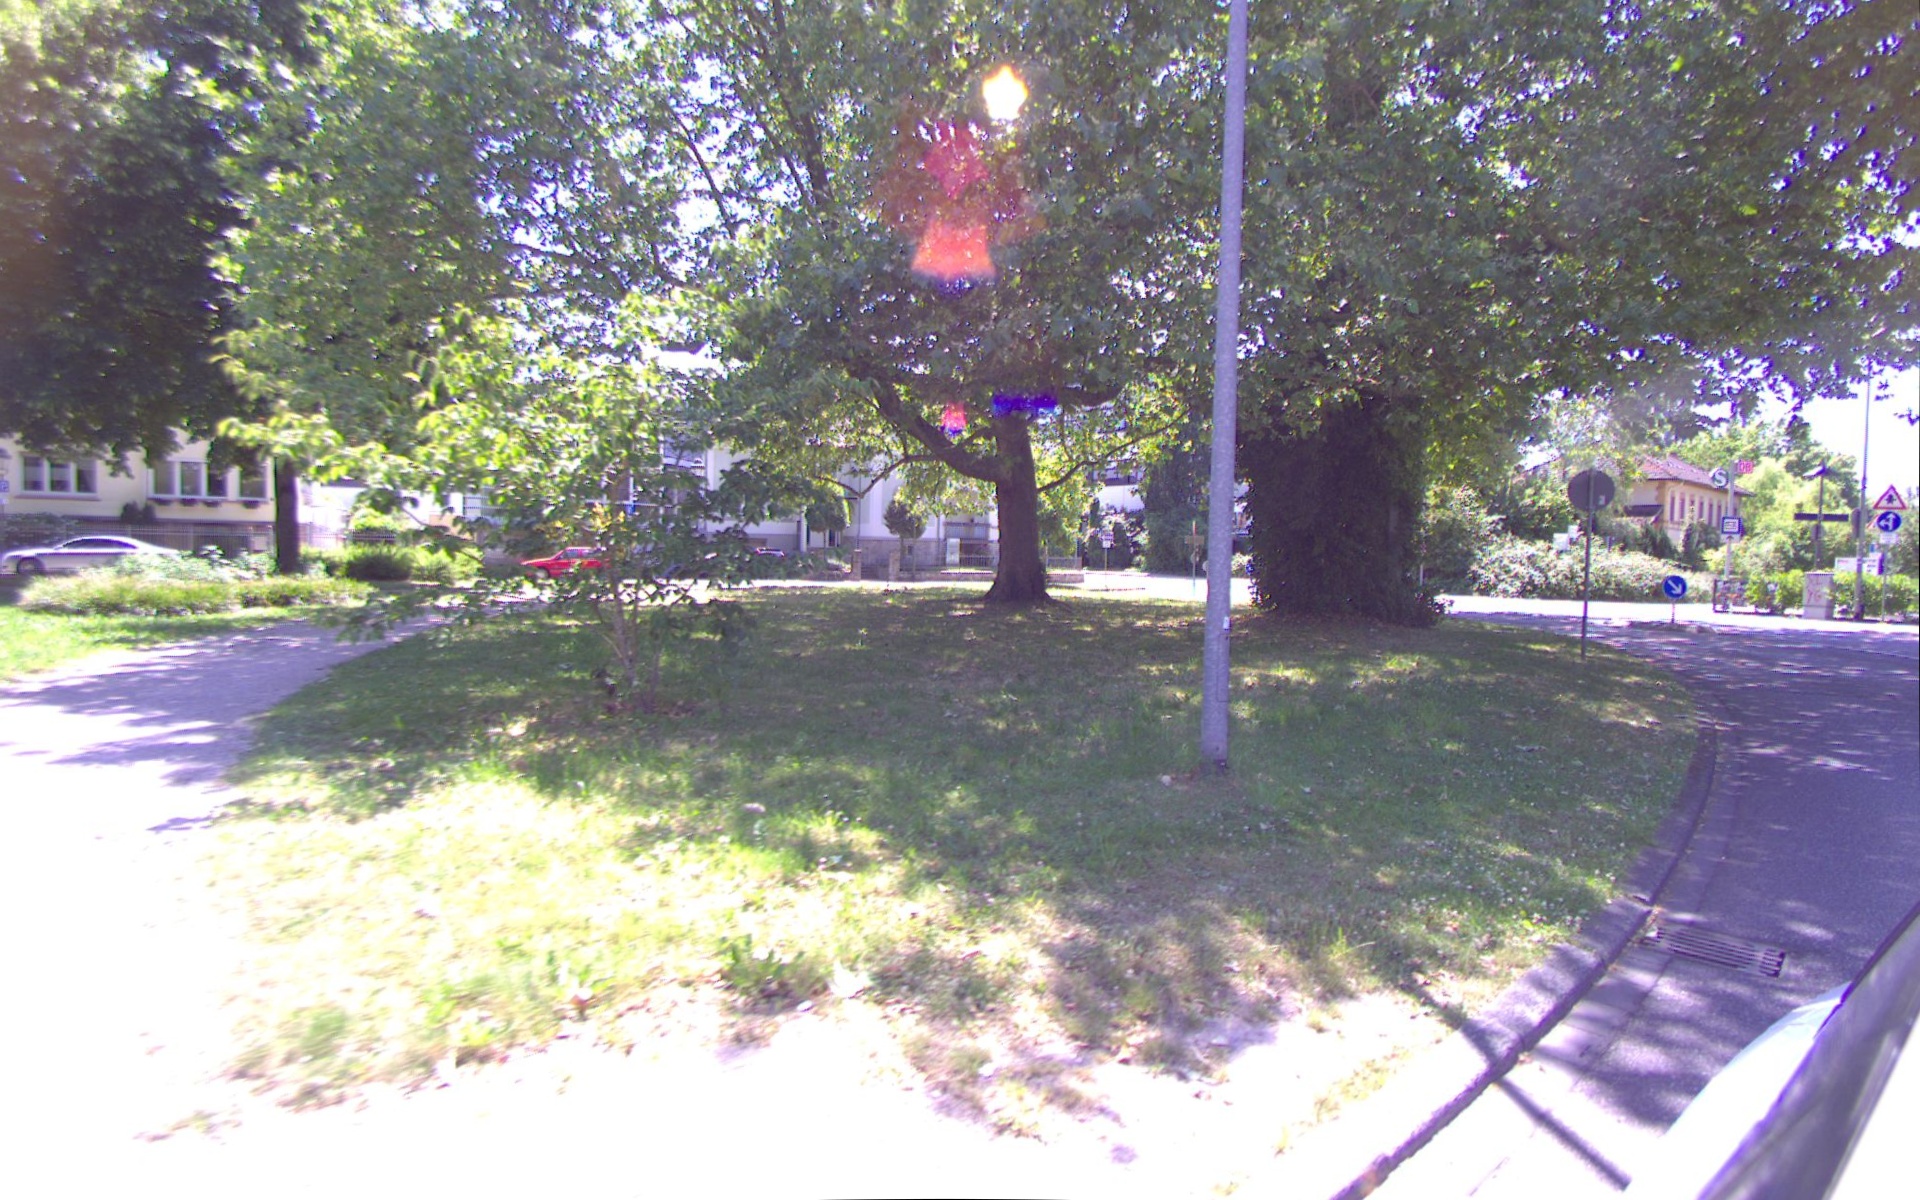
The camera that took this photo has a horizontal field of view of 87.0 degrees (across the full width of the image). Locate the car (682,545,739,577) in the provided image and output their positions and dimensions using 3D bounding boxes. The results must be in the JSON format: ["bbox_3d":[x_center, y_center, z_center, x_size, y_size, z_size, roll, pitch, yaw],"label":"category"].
[{"bbox_3d":[-12.033,-1.893,48.600,1.958,1.408,4.009,0,3,-24],"label":"car"}]

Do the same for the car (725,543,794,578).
[{"bbox_3d":[-10.015,-2.005,50.359,1.962,1.587,4.002,-2,4,-35],"label":"car"}]

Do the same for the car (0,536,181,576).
[{"bbox_3d":[-29.899,-1.527,34.822,4.619,1.303,1.674,-1,4,-27],"label":"car"}]

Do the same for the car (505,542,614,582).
[{"bbox_3d":[-16.301,-1.543,41.195,3.919,1.542,1.757,0,3,-29],"label":"car"}]
